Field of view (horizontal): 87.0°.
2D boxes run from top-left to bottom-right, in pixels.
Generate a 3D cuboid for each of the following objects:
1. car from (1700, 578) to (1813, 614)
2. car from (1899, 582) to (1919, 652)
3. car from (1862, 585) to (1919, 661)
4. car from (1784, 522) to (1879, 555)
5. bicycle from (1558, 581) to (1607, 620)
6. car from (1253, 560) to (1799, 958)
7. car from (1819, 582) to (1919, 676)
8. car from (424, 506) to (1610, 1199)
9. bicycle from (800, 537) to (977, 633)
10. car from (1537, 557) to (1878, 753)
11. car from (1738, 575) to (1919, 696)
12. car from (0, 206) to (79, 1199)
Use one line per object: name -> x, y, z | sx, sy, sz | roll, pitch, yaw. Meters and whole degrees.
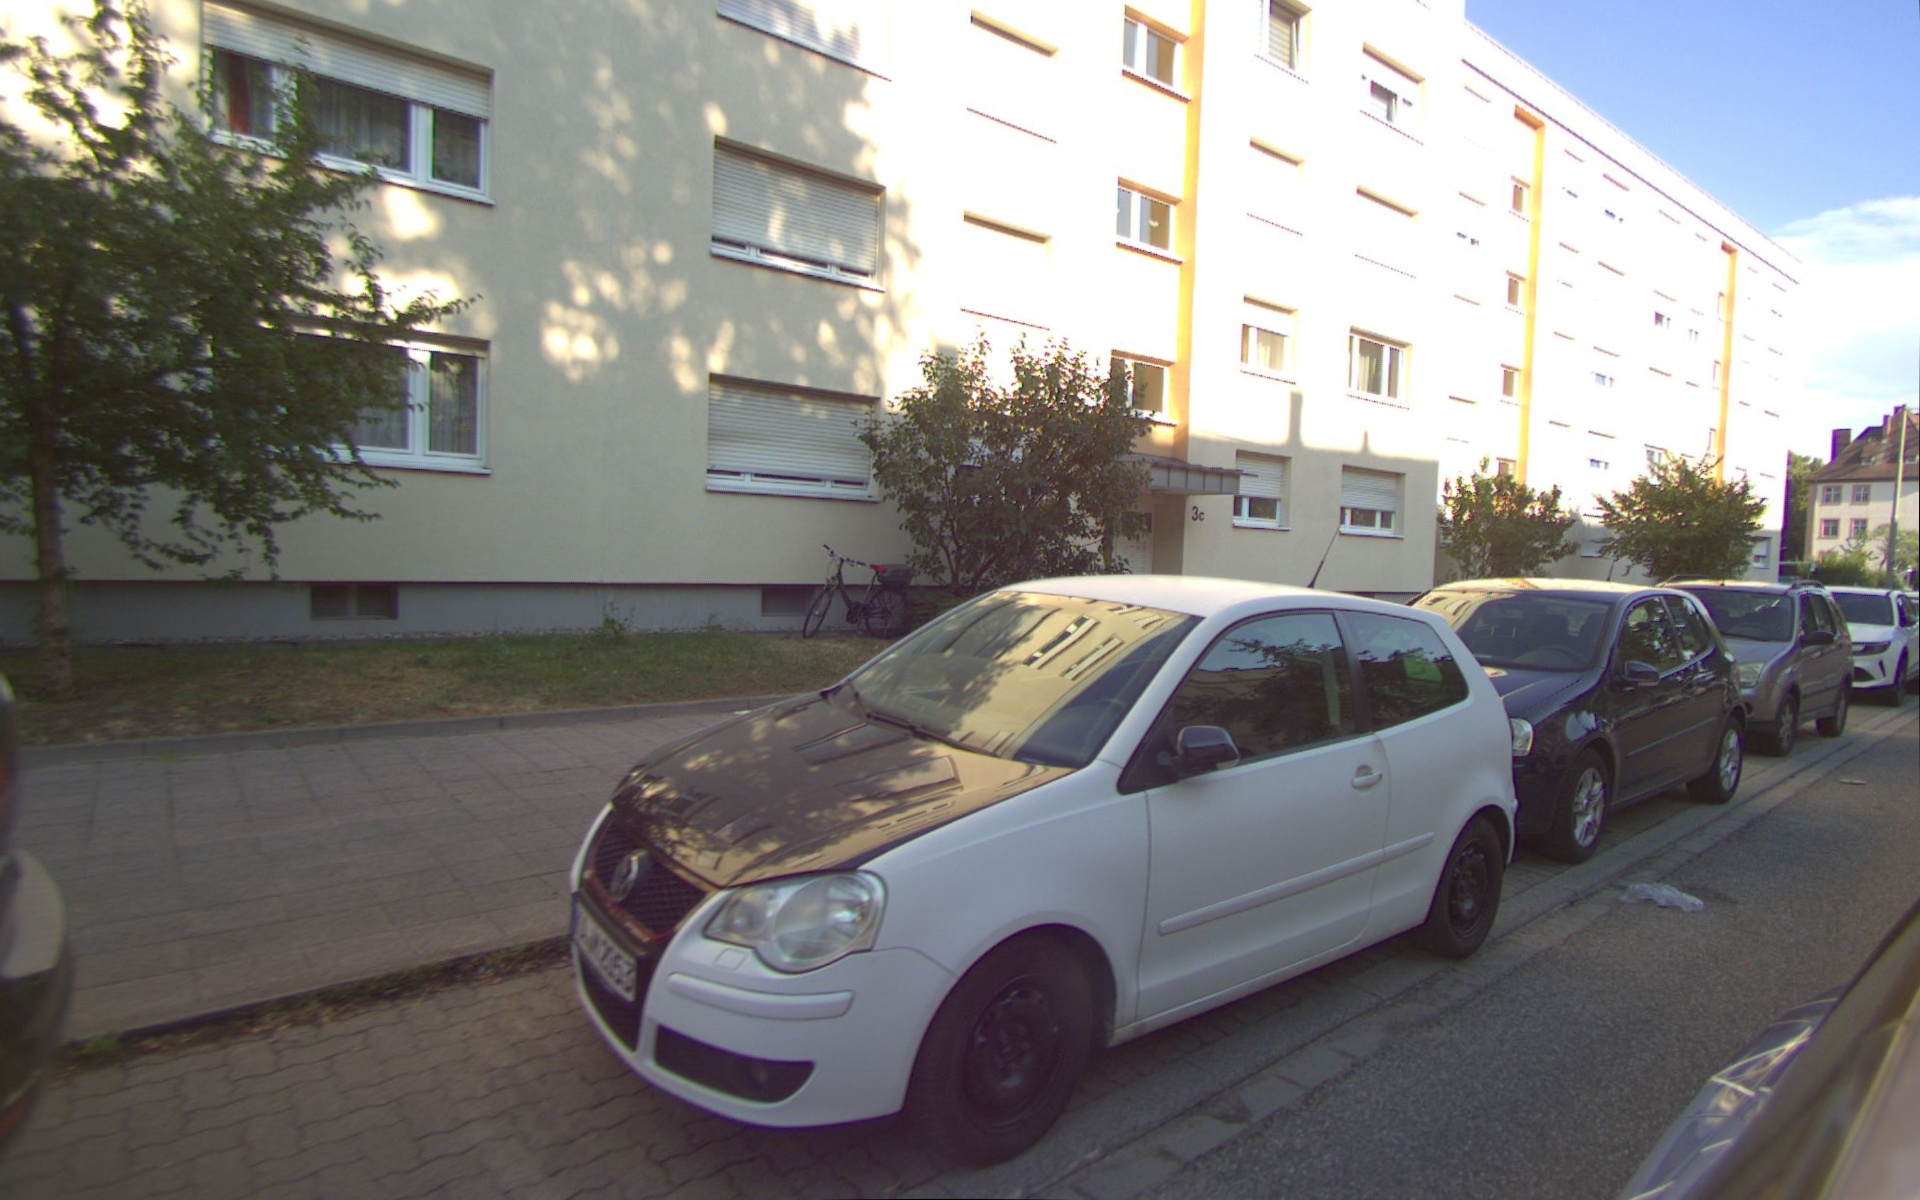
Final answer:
car -> 42.985, -0.269, 54.725 | 1.700, 1.621, 4.492 | -1, 4, -37
car -> 24.695, 0.377, 24.969 | 3.930, 1.637, 1.774 | -2, 0, -41
car -> 20.589, 0.429, 21.385 | 3.930, 1.472, 1.774 | -2, 0, -41
car -> 51.735, -3.629, 60.110 | 1.965, 1.816, 3.996 | -1, 2, -39
bicycle -> 16.200, -0.003, 26.321 | 1.757, 0.953, 0.439 | -1, 1, -35
car -> 3.925, 0.695, 6.778 | 3.909, 1.792, 1.842 | -2, 6, -40
car -> 16.711, 0.434, 17.913 | 4.238, 1.456, 1.664 | -2, 2, -41
car -> 0.522, 0.517, 3.675 | 4.098, 1.519, 1.843 | -2, 6, -40
bicycle -> -0.886, -0.206, 13.096 | 2.350, 1.126, 0.495 | -1, 7, -37
car -> 7.878, 0.400, 10.524 | 4.204, 1.625, 1.966 | -2, 1, -40
car -> 12.786, 0.388, 14.555 | 3.933, 1.460, 1.876 | -2, 3, -42
car -> -3.566, 0.351, 0.500 | 4.683, 1.770, 2.029 | -1, 5, -41
